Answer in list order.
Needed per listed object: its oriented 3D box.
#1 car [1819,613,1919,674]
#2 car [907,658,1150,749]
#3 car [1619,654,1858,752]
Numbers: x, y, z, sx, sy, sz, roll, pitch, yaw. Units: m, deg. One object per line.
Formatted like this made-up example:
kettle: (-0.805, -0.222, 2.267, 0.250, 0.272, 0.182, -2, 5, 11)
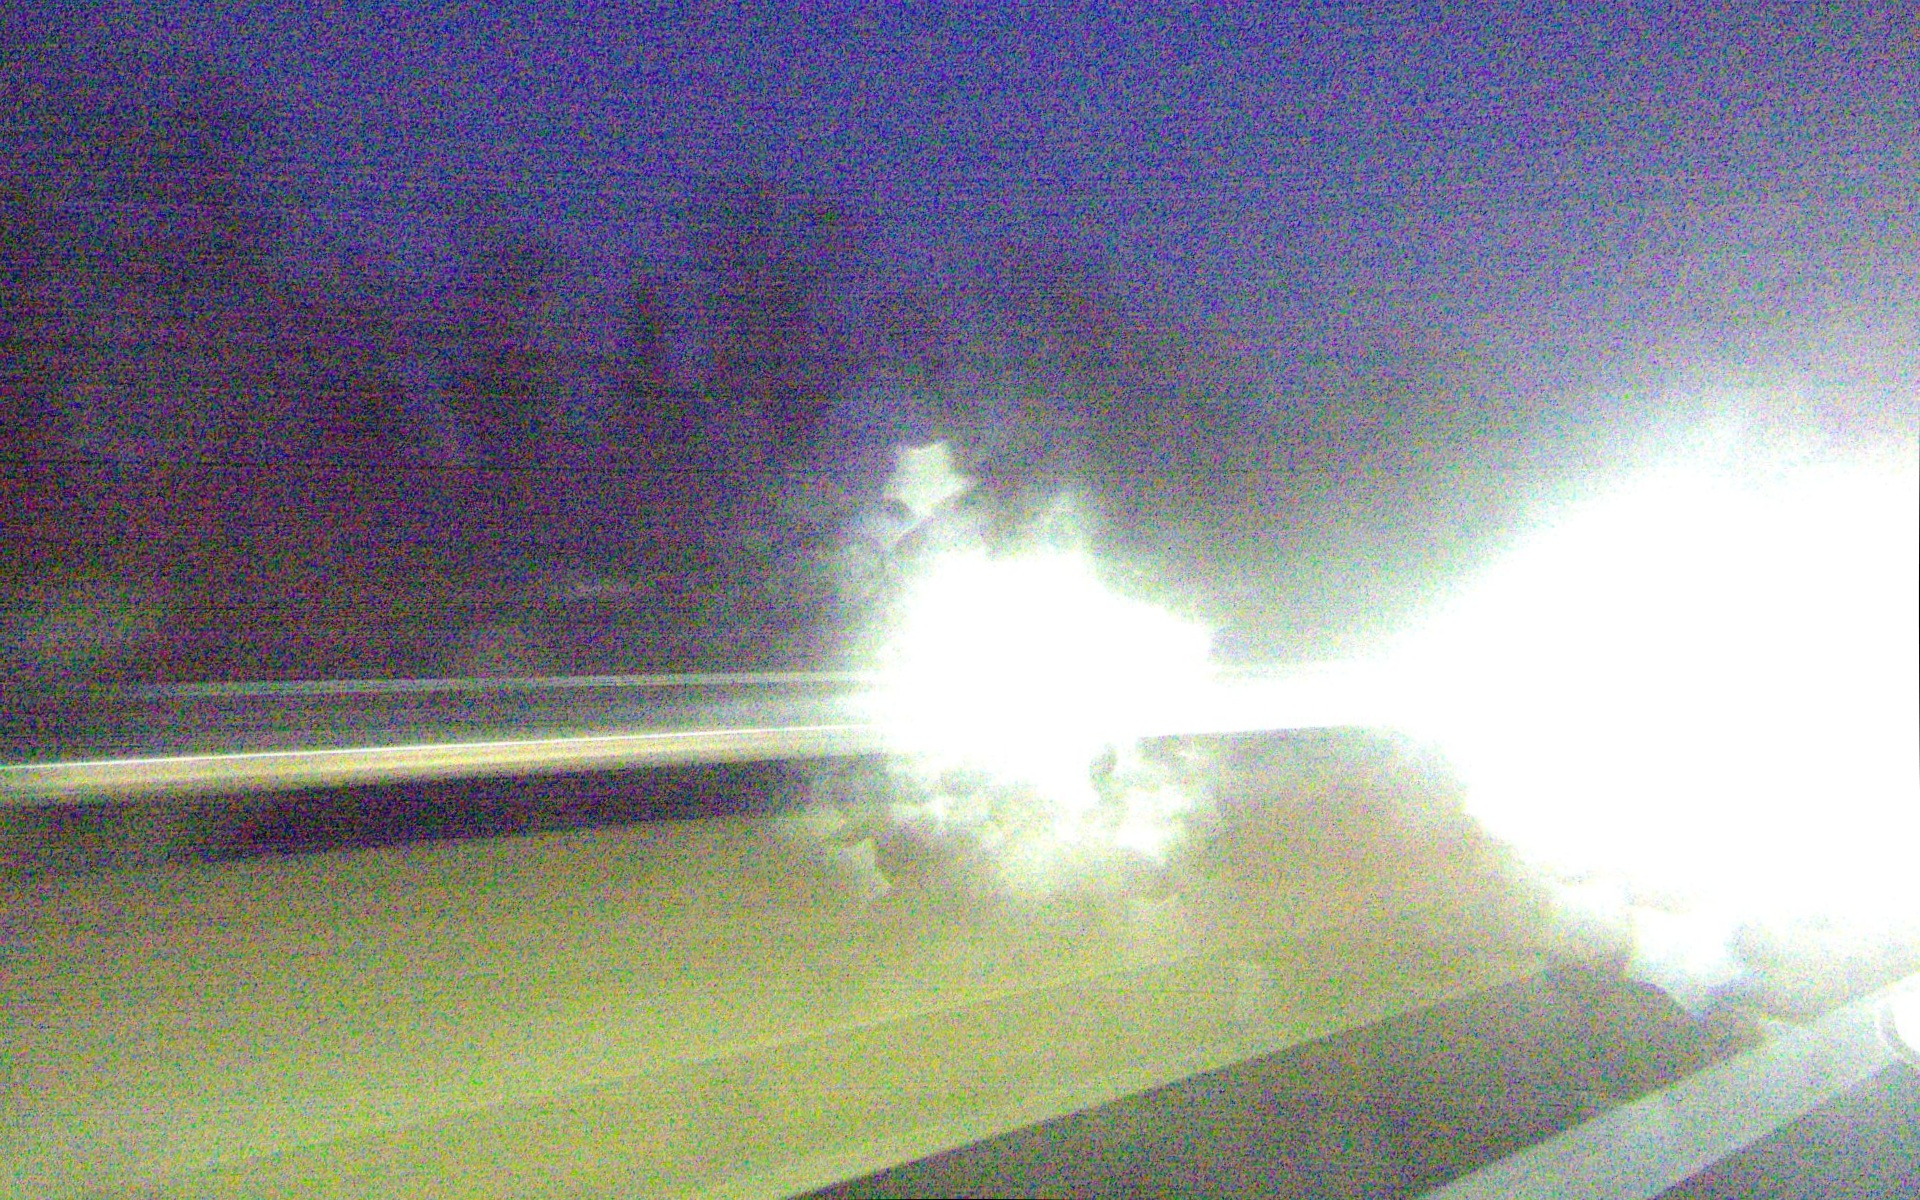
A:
car: (26.980, 1.215, 29.082, 5.067, 1.603, 1.642, 1, 0, -30)
car: (1.318, 1.855, 18.914, 4.239, 1.363, 1.952, 1, 0, -31)
car: (13.671, 1.711, 17.595, 4.239, 1.363, 1.952, 1, 0, -31)
